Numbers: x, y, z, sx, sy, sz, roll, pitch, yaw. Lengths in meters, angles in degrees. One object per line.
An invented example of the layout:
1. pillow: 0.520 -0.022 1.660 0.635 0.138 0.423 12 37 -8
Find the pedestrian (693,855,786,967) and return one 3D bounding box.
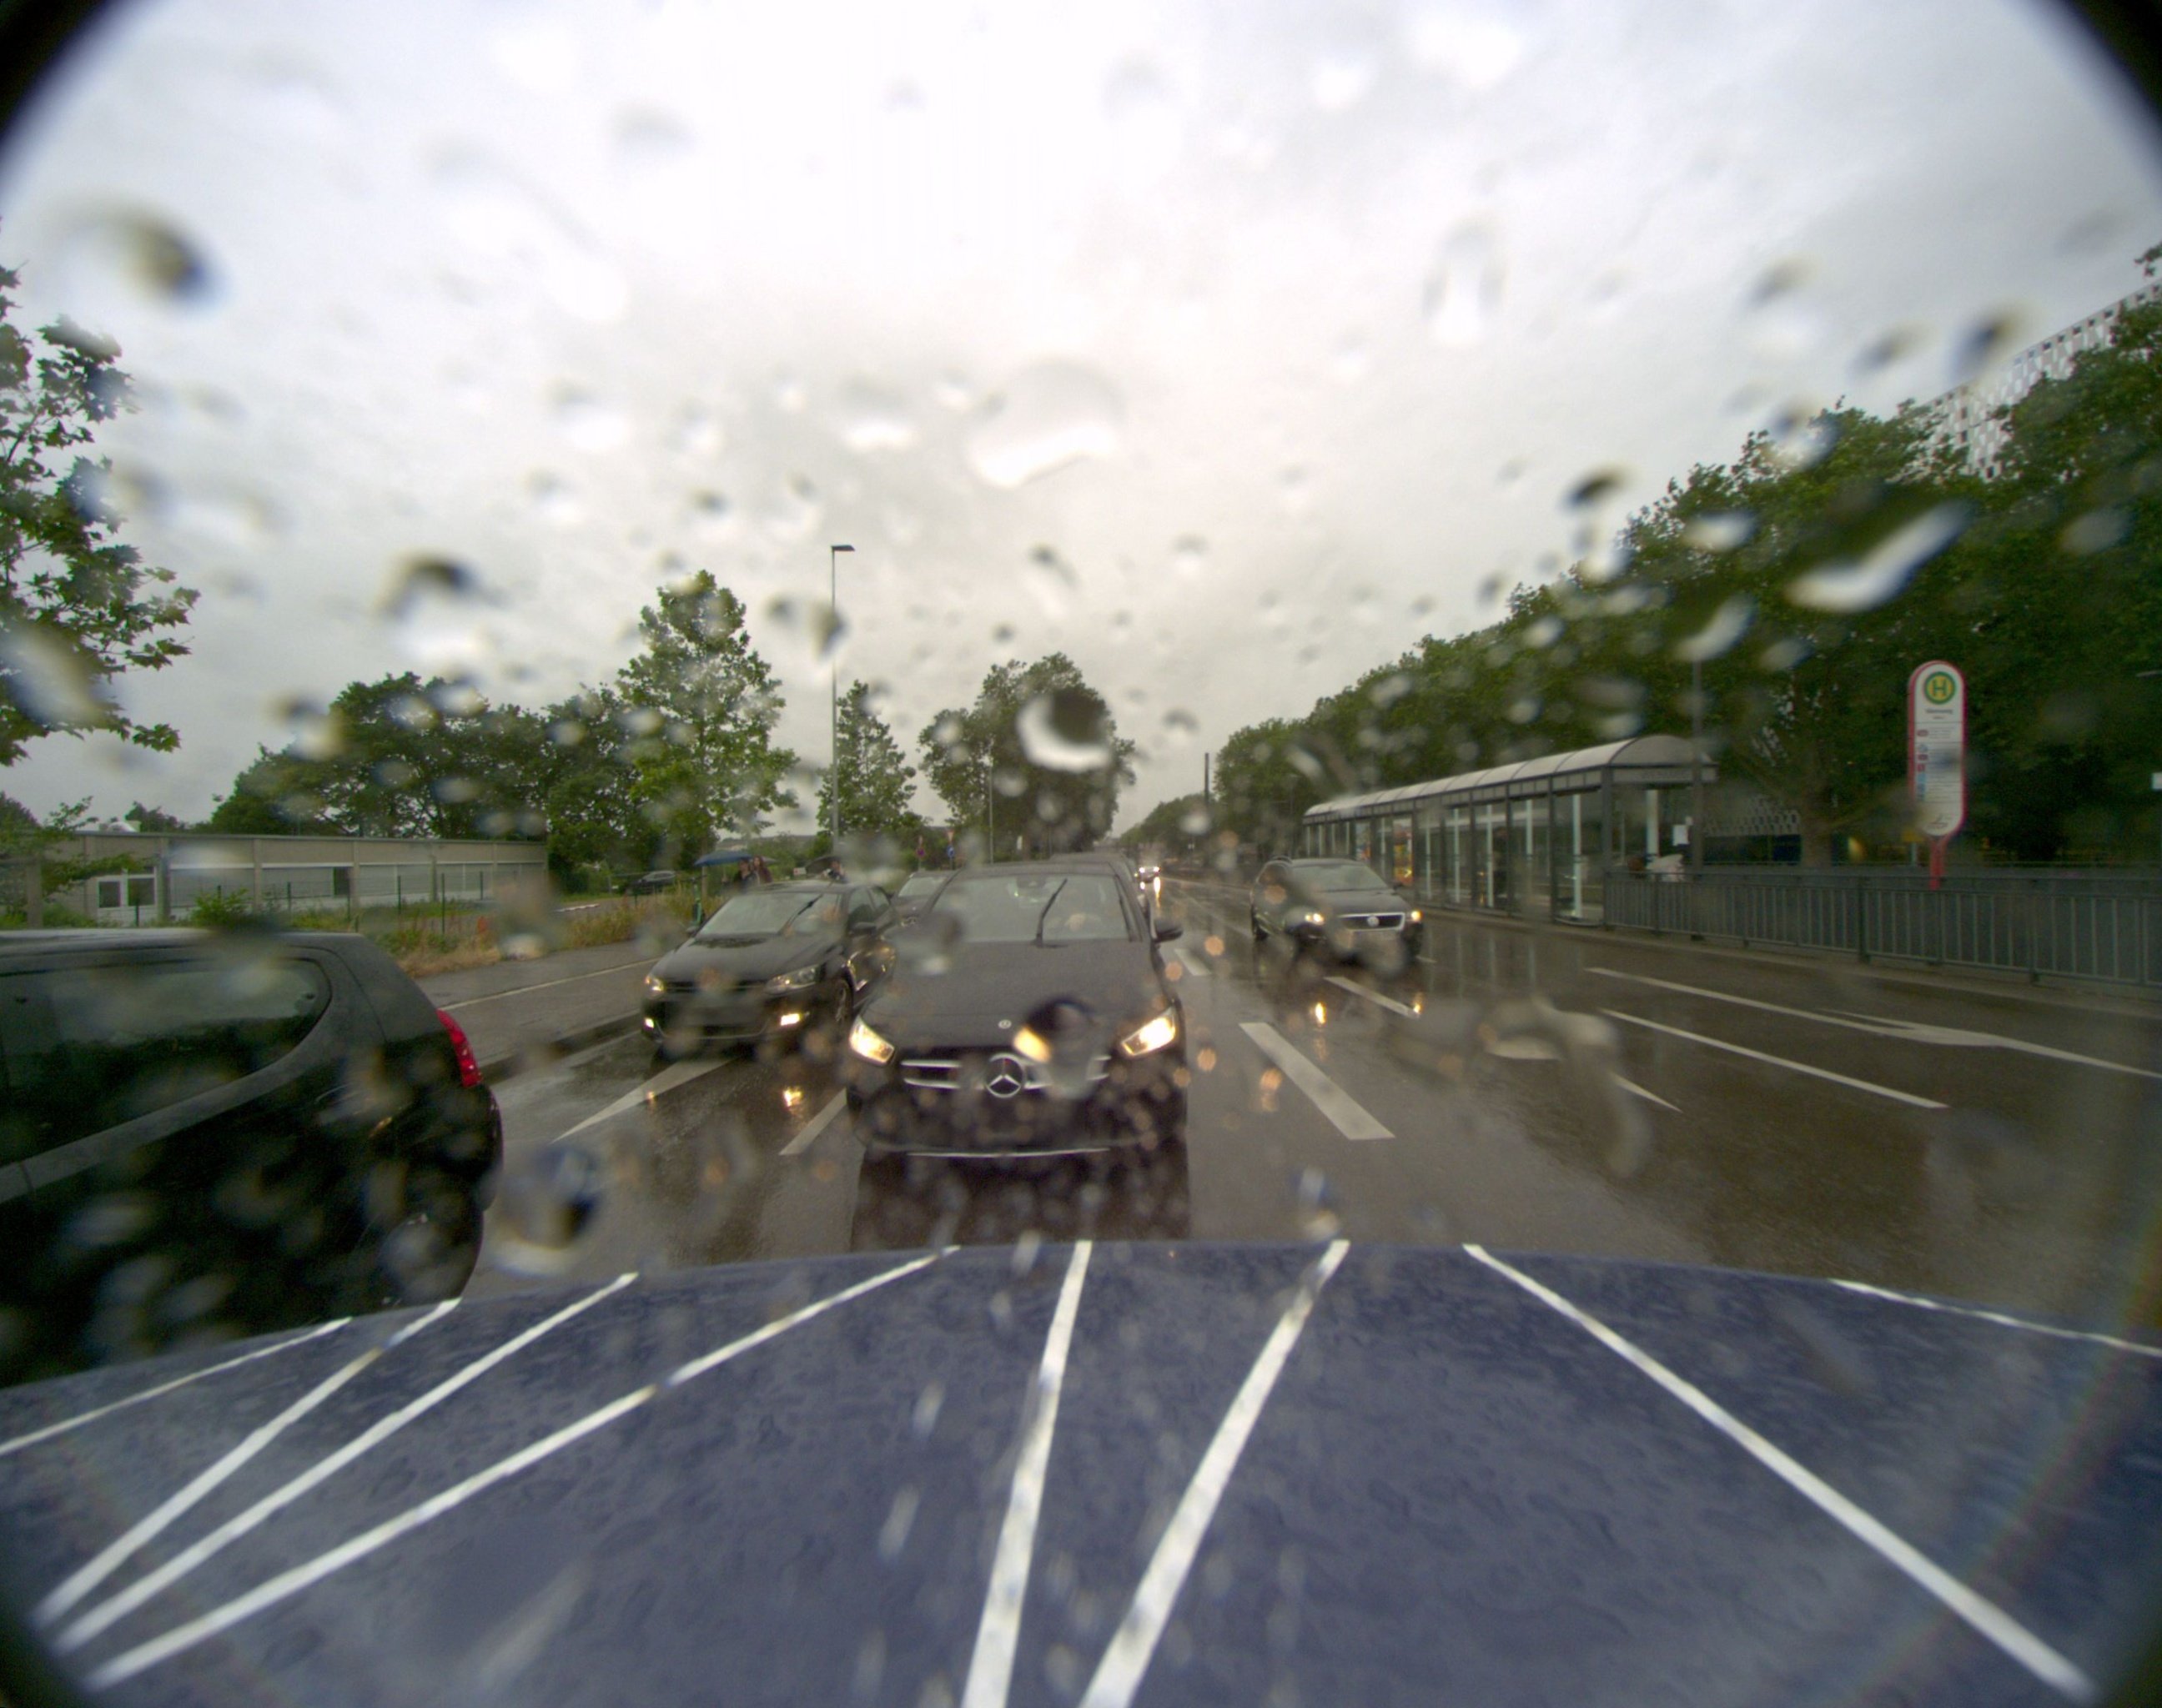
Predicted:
1. pedestrian: -5.539 0.900 12.392 1.082 1.746 0.969 0 1 0

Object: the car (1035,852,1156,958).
1. car: 0.197 0.723 12.461 1.633 1.420 3.624 -2 0 0

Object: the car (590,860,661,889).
1. car: -33.956 1.516 56.739 3.996 2.002 2.000 -2 1 2

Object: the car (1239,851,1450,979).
1. car: 3.740 0.757 11.713 1.775 1.492 4.597 -2 1 2

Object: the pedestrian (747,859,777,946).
1. pedestrian: -6.186 0.922 14.743 0.401 1.652 0.441 1 1 0

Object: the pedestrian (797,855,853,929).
1. pedestrian: -6.065 0.881 18.067 1.025 1.698 0.891 1 1 0

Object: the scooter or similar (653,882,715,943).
1. scooter or similar: -8.217 1.183 15.801 0.381 1.123 1.777 0 1 -1

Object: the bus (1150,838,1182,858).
1. bus: 15.591 -1.131 140.497 2.940 3.310 15.054 -2 1 -5

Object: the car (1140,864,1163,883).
1. car: 6.681 1.848 72.427 1.794 1.597 3.999 -2 1 0

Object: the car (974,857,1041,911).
1. car: -2.244 0.874 24.199 1.703 1.461 4.121 -2 1 0

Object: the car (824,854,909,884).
1. car: -13.540 0.919 48.117 4.759 1.640 1.999 -2 1 -2

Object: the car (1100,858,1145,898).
1. car: 1.848 1.044 35.026 1.794 1.597 3.999 -2 1 0

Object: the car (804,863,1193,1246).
1. car: -0.340 0.933 5.500 1.690 1.578 4.163 -2 1 1

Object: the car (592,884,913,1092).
1. car: -2.946 1.114 7.703 1.633 1.420 3.624 -2 0 0

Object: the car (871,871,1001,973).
1. car: -2.683 1.210 14.911 1.698 1.565 3.813 -2 1 1

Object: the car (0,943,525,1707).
1. car: -3.016 1.079 1.153 1.633 1.420 3.624 -2 0 0
